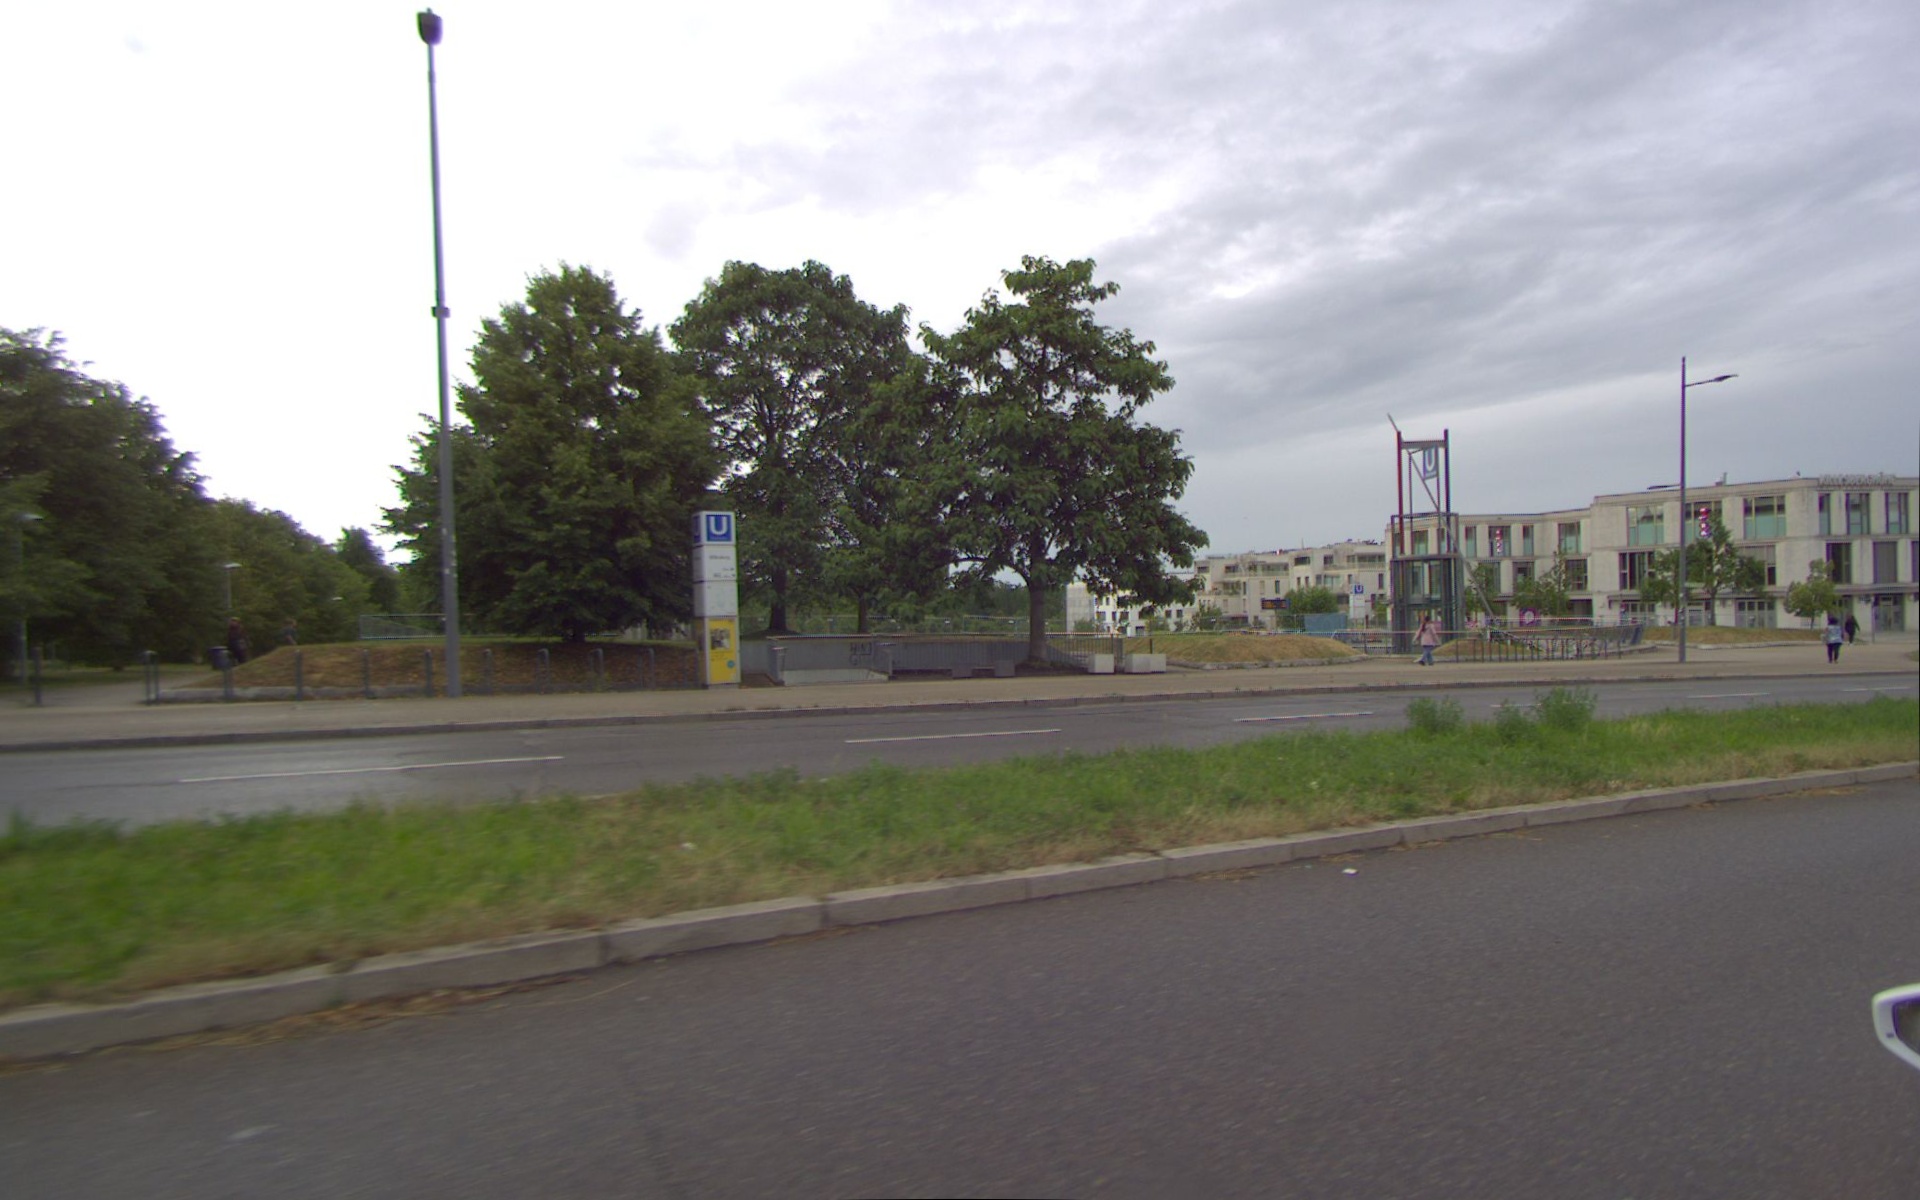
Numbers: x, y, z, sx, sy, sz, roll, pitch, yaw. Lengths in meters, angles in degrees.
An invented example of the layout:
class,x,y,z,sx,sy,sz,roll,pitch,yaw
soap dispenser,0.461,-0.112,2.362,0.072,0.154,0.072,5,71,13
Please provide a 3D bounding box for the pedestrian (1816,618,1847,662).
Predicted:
class,x,y,z,sx,sy,sz,roll,pitch,yaw
pedestrian,32.462,1.481,37.434,0.825,1.594,0.715,0,-2,45

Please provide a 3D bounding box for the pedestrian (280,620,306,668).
class,x,y,z,sx,sy,sz,roll,pitch,yaw
pedestrian,-25.157,1.651,37.909,0.638,1.750,0.751,2,-1,-23

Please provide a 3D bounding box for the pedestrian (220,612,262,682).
class,x,y,z,sx,sy,sz,roll,pitch,yaw
pedestrian,-18.472,1.204,25.818,0.746,1.750,0.643,2,-1,-29

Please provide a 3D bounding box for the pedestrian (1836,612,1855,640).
class,x,y,z,sx,sy,sz,roll,pitch,yaw
pedestrian,48.843,1.422,55.406,0.713,1.544,0.677,3,-2,-39

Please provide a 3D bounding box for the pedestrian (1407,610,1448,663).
class,x,y,z,sx,sy,sz,roll,pitch,yaw
pedestrian,14.979,1.173,32.188,0.924,1.642,0.810,2,-1,-29

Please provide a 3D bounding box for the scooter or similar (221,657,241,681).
class,x,y,z,sx,sy,sz,roll,pitch,yaw
scooter or similar,-18.958,1.805,26.135,0.354,0.605,0.388,2,-1,-29
